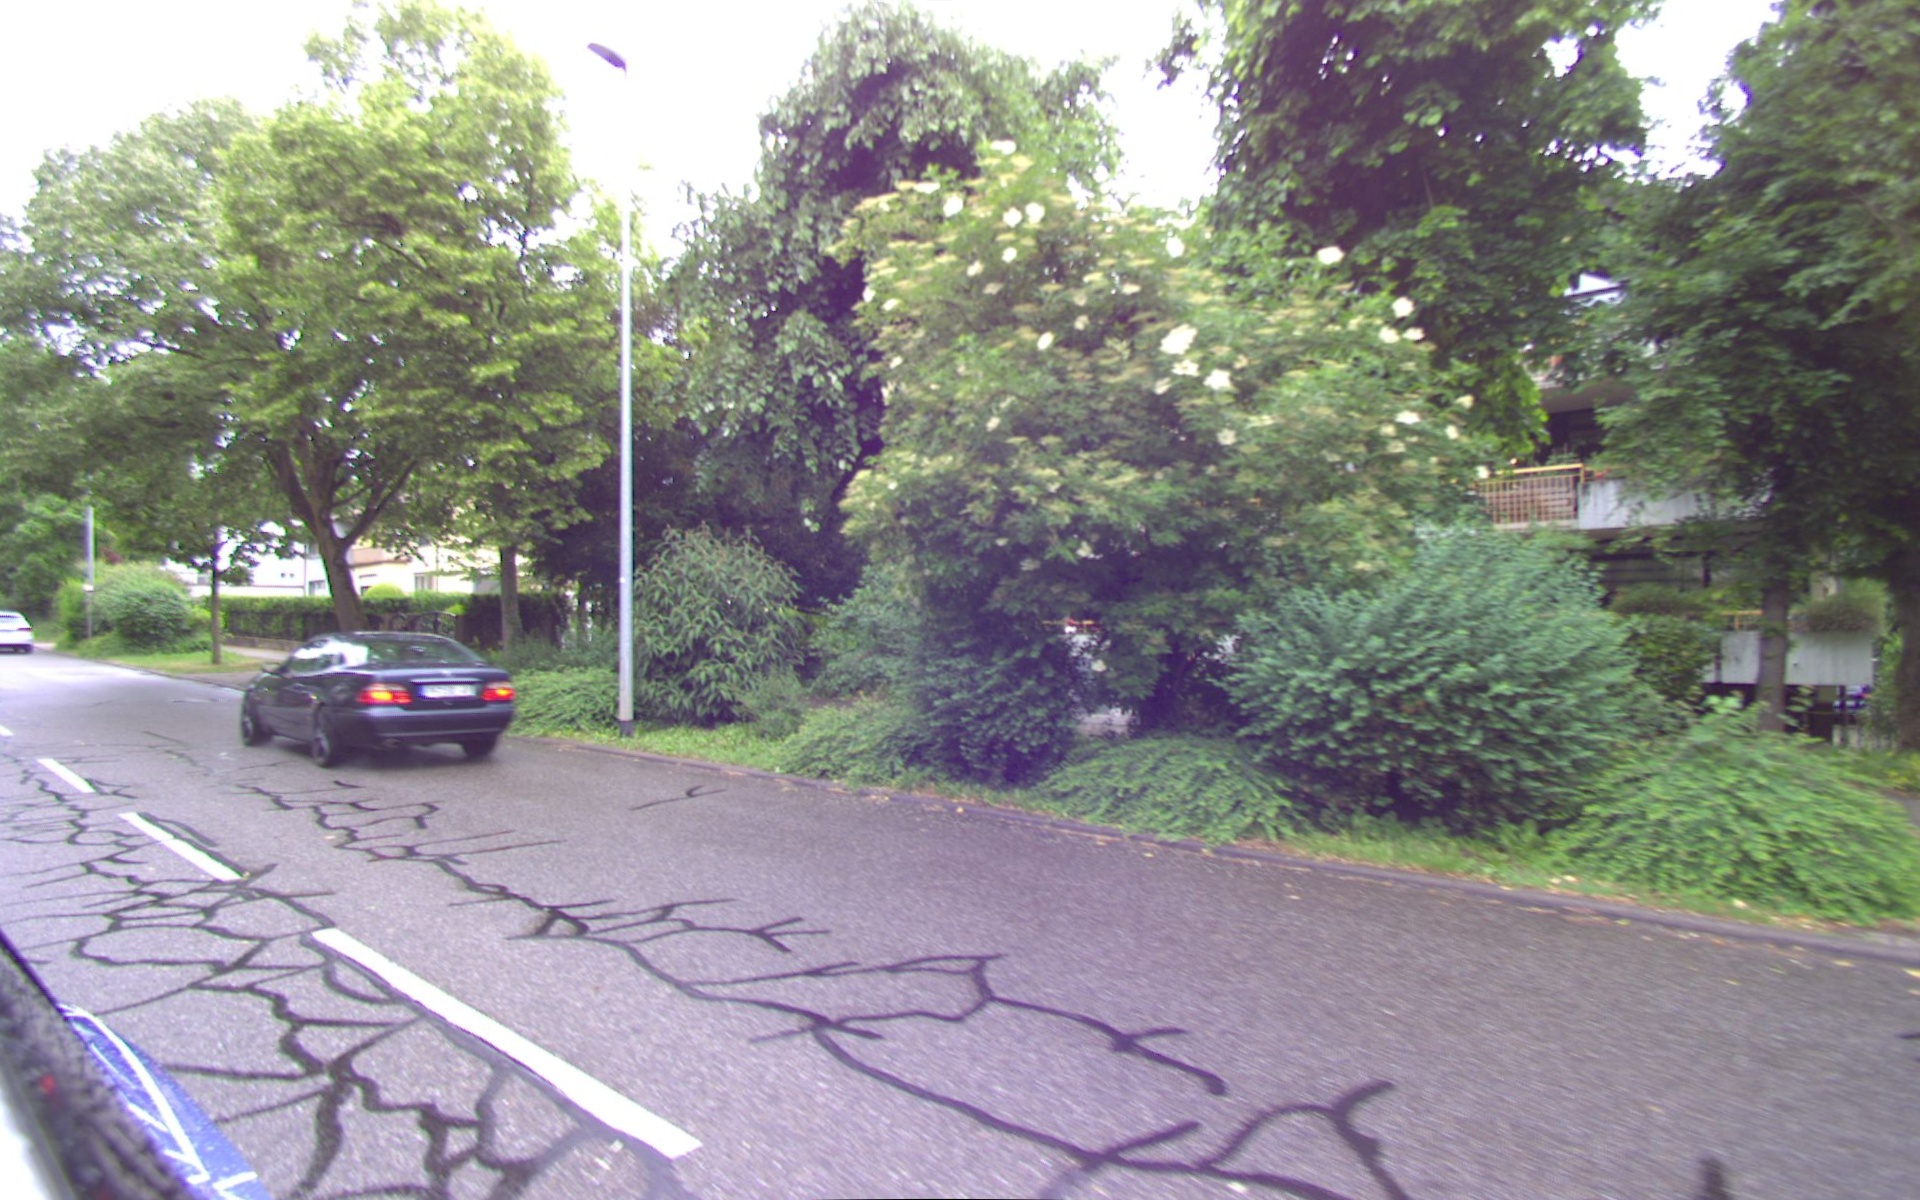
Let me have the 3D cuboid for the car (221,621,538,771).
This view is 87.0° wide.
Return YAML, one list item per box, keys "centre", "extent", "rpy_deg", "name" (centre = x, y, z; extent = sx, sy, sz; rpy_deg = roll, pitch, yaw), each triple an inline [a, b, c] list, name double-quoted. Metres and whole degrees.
- centre: [-6.664, 0.949, 11.417]
  extent: [4.375, 1.359, 1.746]
  rpy_deg: [-1, -3, 41]
  name: "car"

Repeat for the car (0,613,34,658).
- centre: [-33.711, 1.203, 35.108]
  extent: [4.064, 1.490, 1.803]
  rpy_deg: [0, -2, 40]
  name: "car"

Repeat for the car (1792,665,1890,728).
- centre: [30.173, 3.235, 34.778]
  extent: [1.819, 1.730, 3.958]
  rpy_deg: [-1, 0, 31]
  name: "car"
